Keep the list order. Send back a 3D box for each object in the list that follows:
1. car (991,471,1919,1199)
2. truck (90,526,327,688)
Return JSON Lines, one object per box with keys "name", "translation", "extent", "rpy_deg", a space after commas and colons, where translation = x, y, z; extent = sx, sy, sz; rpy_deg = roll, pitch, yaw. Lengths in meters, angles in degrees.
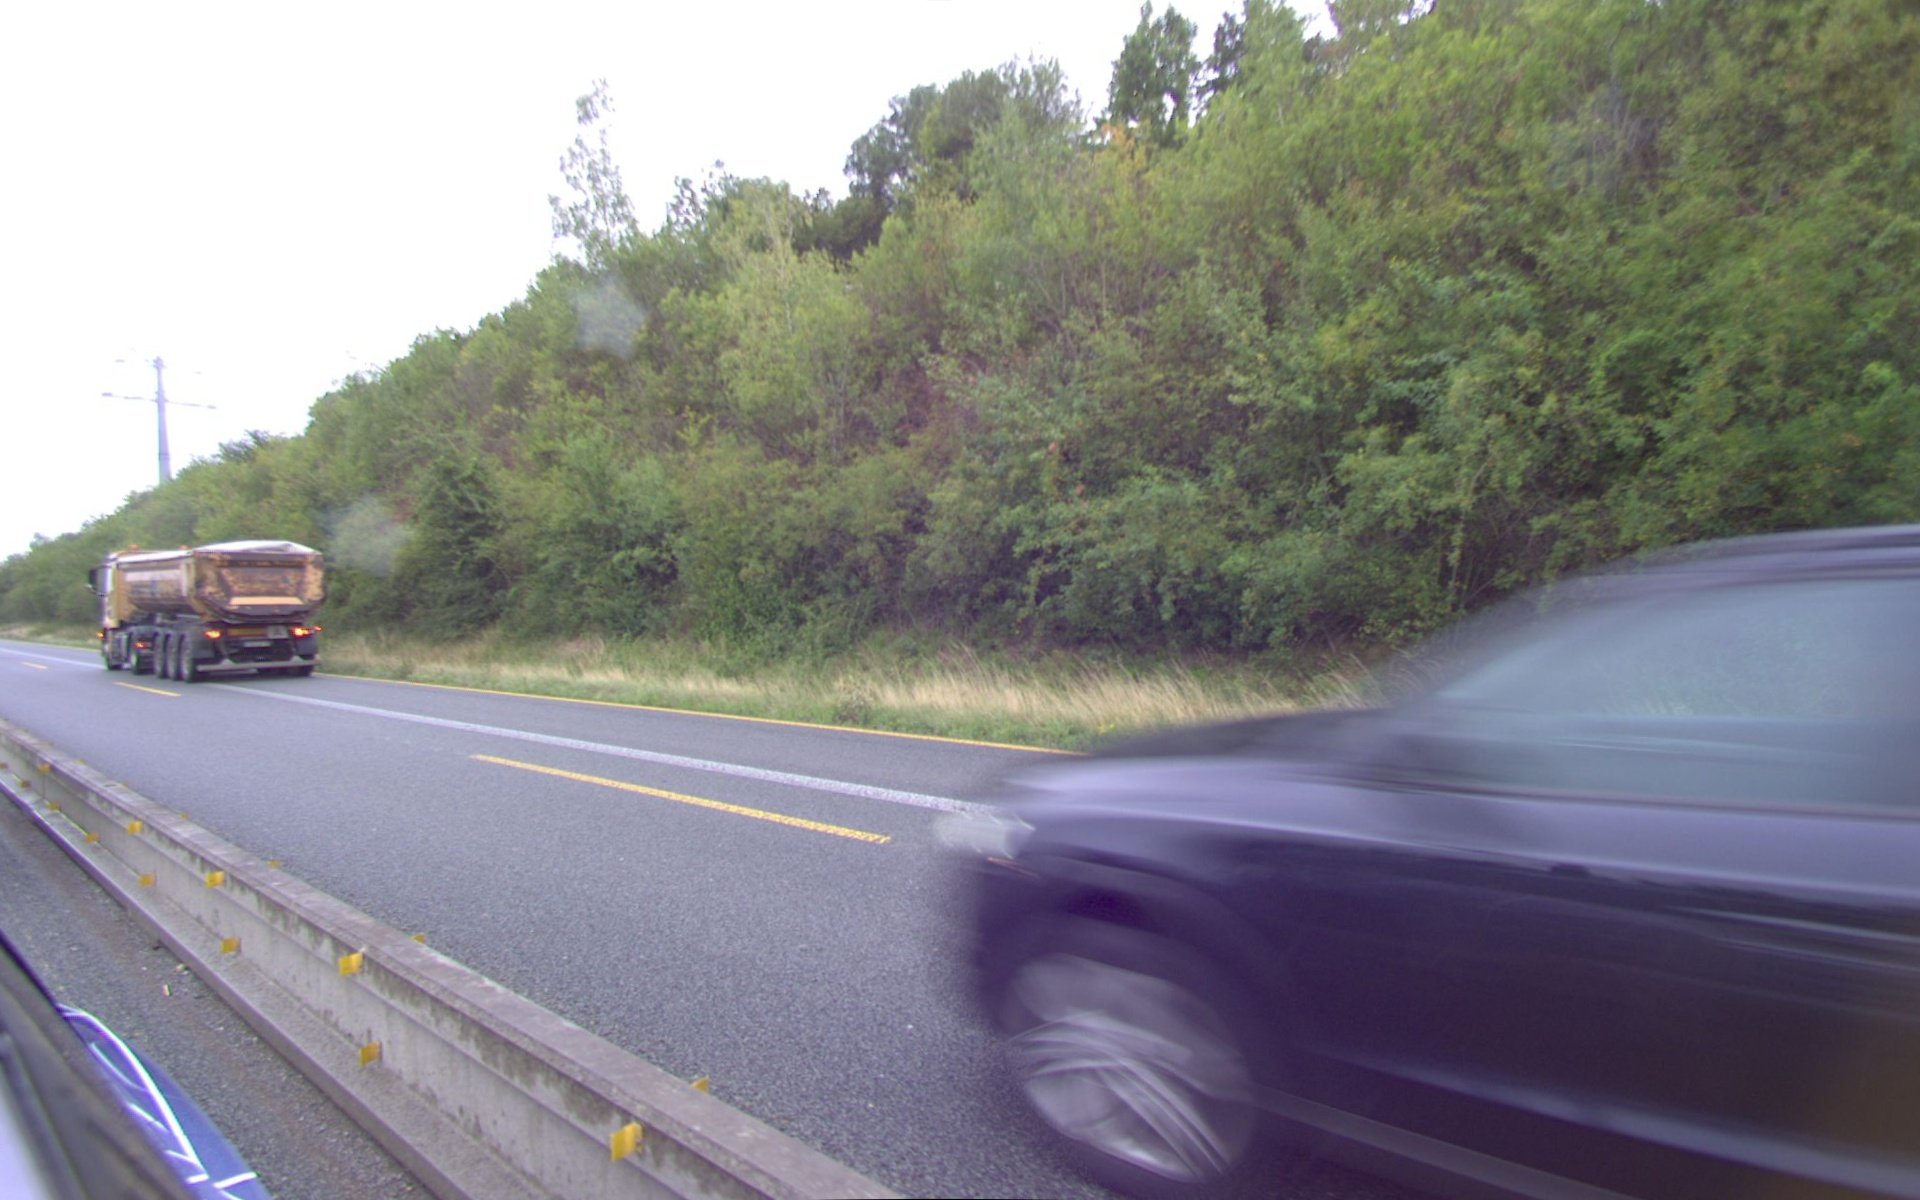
{"name": "car", "translation": [2.172, 0.589, 2.009], "extent": [3.987, 1.571, 1.791], "rpy_deg": [-1, 0, 41]}
{"name": "truck", "translation": [-19.668, 0.195, 26.003], "extent": [12.046, 3.378, 2.508], "rpy_deg": [-1, 0, 42]}
